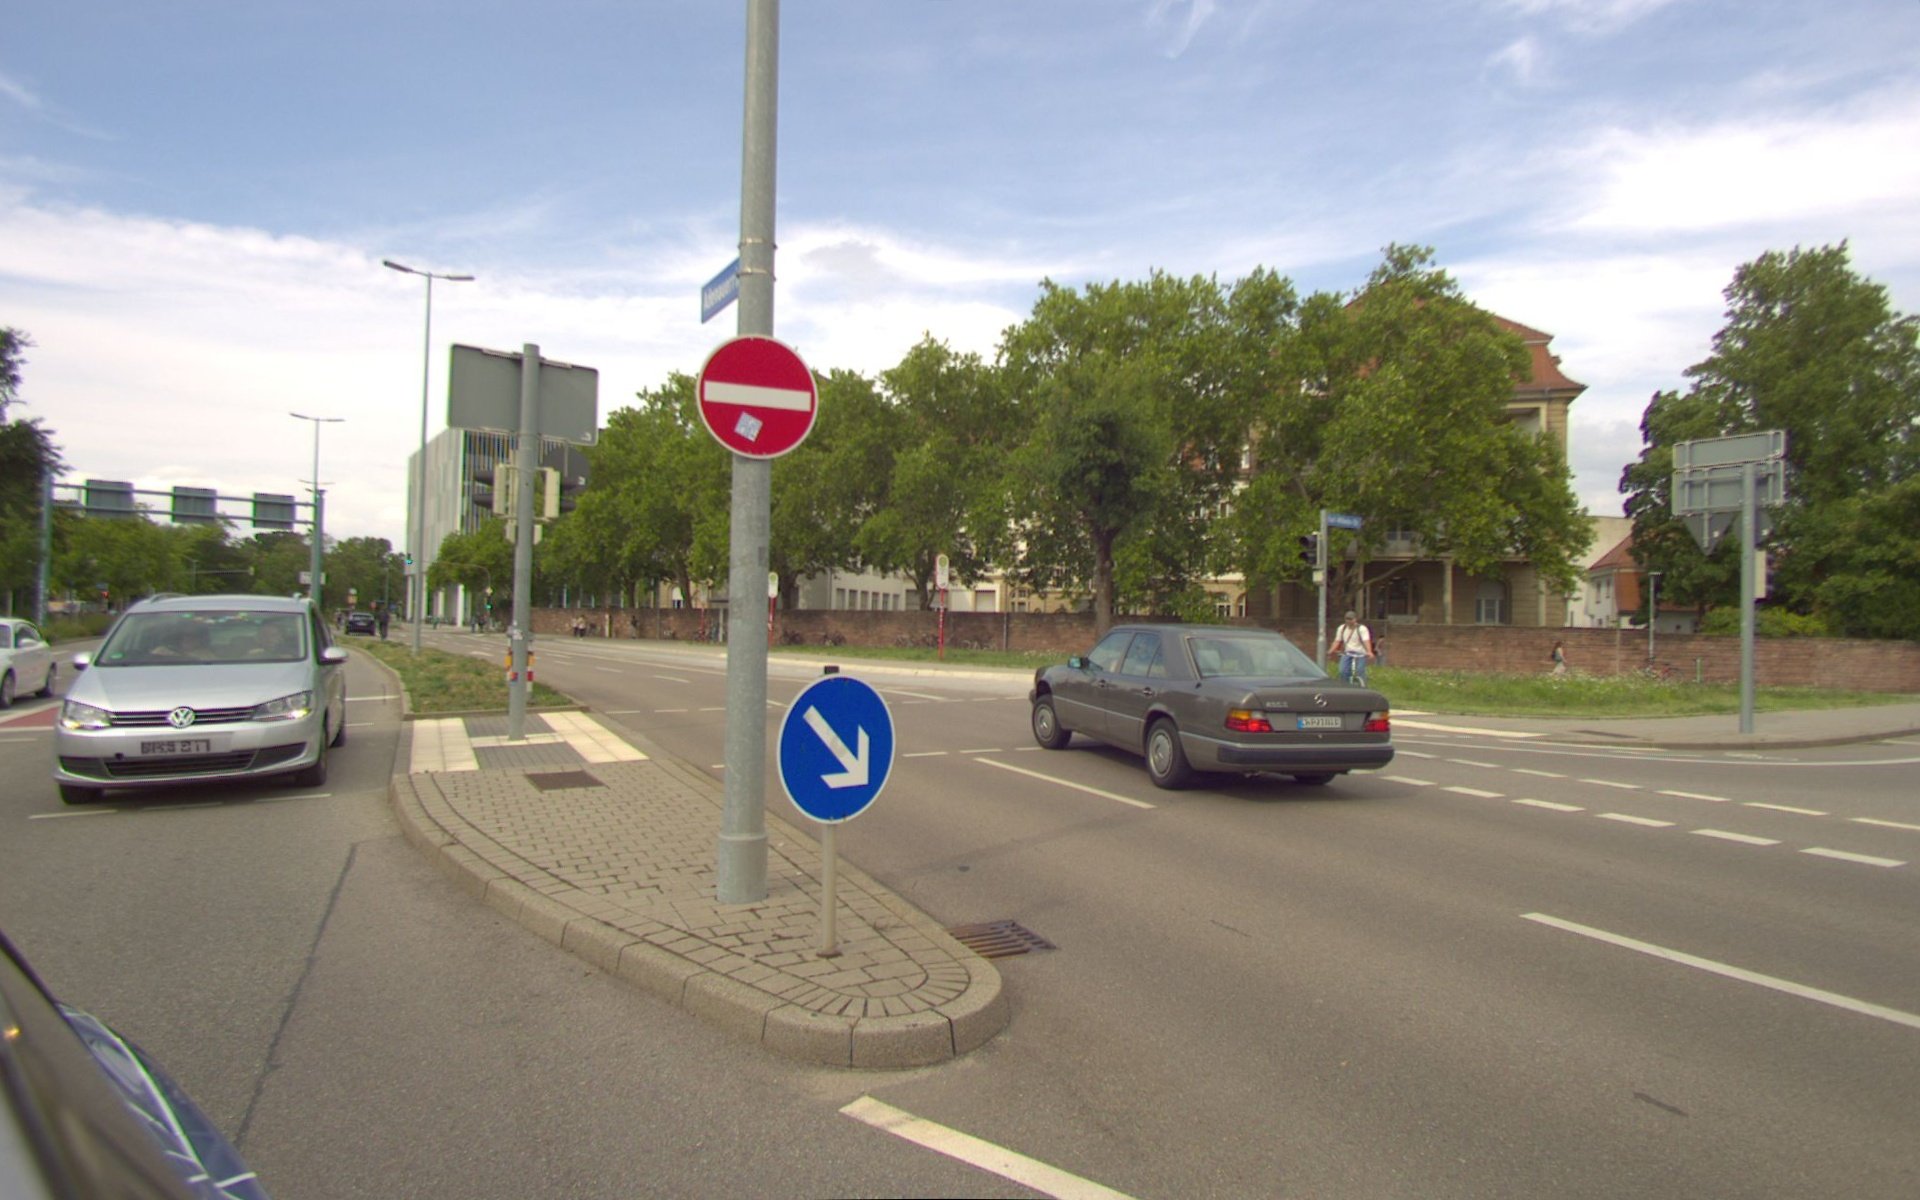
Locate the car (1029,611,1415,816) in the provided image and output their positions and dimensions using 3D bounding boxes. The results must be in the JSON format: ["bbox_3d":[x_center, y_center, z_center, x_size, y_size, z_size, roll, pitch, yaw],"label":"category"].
[{"bbox_3d":[2.194,0.868,9.888,1.672,1.491,4.428,0,0,-15],"label":"car"}]

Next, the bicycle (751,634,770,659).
[{"bbox_3d":[-8.792,2.043,44.606,0.497,0.943,1.978,2,0,-20],"label":"bicycle"}]

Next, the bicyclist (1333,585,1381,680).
[{"bbox_3d":[6.800,0.539,17.353,0.574,1.567,0.795,2,0,10],"label":"bicyclist"}]

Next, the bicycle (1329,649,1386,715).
[{"bbox_3d":[6.752,1.371,17.268,0.500,0.943,1.965,2,0,10],"label":"bicycle"}]

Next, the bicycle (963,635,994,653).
[{"bbox_3d":[0.986,2.360,54.325,1.703,0.870,0.355,0,-4,32],"label":"bicycle"}]

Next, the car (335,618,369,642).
[{"bbox_3d":[-41.699,2.041,69.358,1.760,1.501,4.141,4,-3,-33],"label":"car"}]

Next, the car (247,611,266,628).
[{"bbox_3d":[-90.127,2.491,129.565,1.967,2.029,4.010,0,0,-35],"label":"car"}]

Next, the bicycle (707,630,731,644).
[{"bbox_3d":[-15.653,2.379,65.733,1.574,0.894,0.653,-1,0,38],"label":"bicycle"}]

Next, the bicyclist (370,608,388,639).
[{"bbox_3d":[-32.413,1.318,56.438,0.765,1.724,1.089,4,-4,-30],"label":"bicyclist"}]

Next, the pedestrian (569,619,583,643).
[{"bbox_3d":[-26.083,2.095,68.733,0.743,1.634,0.667,0,0,-39],"label":"pedestrian"}]

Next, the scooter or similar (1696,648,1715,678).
[{"bbox_3d":[30.970,2.622,42.046,0.519,1.148,1.499,0,0,40],"label":"scooter or similar"}]

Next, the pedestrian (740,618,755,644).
[{"bbox_3d":[-13.439,1.952,63.947,0.753,1.634,0.562,0,0,35],"label":"pedestrian"}]

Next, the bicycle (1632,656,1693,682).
[{"bbox_3d":[29.212,2.853,42.106,1.906,1.012,0.776,0,0,12],"label":"bicycle"}]

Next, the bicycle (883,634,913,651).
[{"bbox_3d":[-3.520,2.385,57.058,1.818,0.870,0.354,0,-4,34],"label":"bicycle"}]

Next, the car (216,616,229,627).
[{"bbox_3d":[-143.796,4.247,197.412,1.967,2.029,4.010,0,0,-35],"label":"car"}]

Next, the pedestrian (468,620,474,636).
[{"bbox_3d":[-44.957,2.602,93.058,0.396,1.468,0.474,0,0,-39],"label":"pedestrian"}]

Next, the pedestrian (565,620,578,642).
[{"bbox_3d":[-29.094,2.299,75.712,0.743,1.634,0.667,0,0,-39],"label":"pedestrian"}]

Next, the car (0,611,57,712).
[{"bbox_3d":[-16.053,0.933,16.240,1.731,1.469,4.235,0,0,-33],"label":"car"}]

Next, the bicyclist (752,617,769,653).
[{"bbox_3d":[-8.790,1.536,44.618,0.570,1.567,0.800,2,0,-19],"label":"bicyclist"}]

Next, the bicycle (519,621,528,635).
[{"bbox_3d":[-38.360,2.478,88.915,0.504,1.218,1.399,0,0,-33],"label":"bicycle"}]

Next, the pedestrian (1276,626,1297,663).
[{"bbox_3d":[14.818,2.014,45.886,0.772,1.667,0.577,0,0,3],"label":"pedestrian"}]

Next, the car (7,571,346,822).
[{"bbox_3d":[-6.943,0.681,9.494,1.794,1.747,4.543,0,0,-28],"label":"car"}]

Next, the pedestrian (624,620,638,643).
[{"bbox_3d":[-23.780,2.301,73.082,0.660,1.634,0.751,0,0,16],"label":"pedestrian"}]

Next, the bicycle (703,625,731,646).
[{"bbox_3d":[-15.384,2.255,64.081,0.752,1.198,2.086,1,-4,17],"label":"bicycle"}]

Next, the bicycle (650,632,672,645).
[{"bbox_3d":[-20.690,2.669,70.036,1.574,0.894,0.653,-1,0,38],"label":"bicycle"}]

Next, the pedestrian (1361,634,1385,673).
[{"bbox_3d":[17.968,2.304,44.053,0.770,1.667,0.578,0,0,-3],"label":"pedestrian"}]

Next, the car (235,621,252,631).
[{"bbox_3d":[-119.269,4.261,168.546,1.966,1.586,4.012,0,0,-30],"label":"car"}]

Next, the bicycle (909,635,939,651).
[{"bbox_3d":[-2.015,2.377,55.999,1.806,0.870,0.354,0,-4,37],"label":"bicycle"}]

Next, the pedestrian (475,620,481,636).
[{"bbox_3d":[-44.614,2.555,93.705,0.396,1.468,0.474,0,0,-39],"label":"pedestrian"}]

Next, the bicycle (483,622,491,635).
[{"bbox_3d":[-45.727,2.757,97.753,0.504,1.218,1.399,0,0,-33],"label":"bicycle"}]

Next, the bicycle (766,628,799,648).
[{"bbox_3d":[-10.888,2.330,62.038,2.094,1.198,0.749,0,-4,35],"label":"bicycle"}]

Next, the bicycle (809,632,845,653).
[{"bbox_3d":[-7.864,2.513,59.694,2.094,1.198,0.749,0,-4,35],"label":"bicycle"}]

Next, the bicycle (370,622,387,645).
[{"bbox_3d":[-32.407,1.872,56.391,0.746,1.198,2.105,4,-4,-31],"label":"bicycle"}]

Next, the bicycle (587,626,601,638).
[{"bbox_3d":[-27.921,2.449,77.209,0.427,0.894,1.577,-2,0,-44],"label":"bicycle"}]

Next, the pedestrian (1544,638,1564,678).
[{"bbox_3d":[25.127,2.454,42.813,0.624,1.667,0.529,0,0,17],"label":"pedestrian"}]
